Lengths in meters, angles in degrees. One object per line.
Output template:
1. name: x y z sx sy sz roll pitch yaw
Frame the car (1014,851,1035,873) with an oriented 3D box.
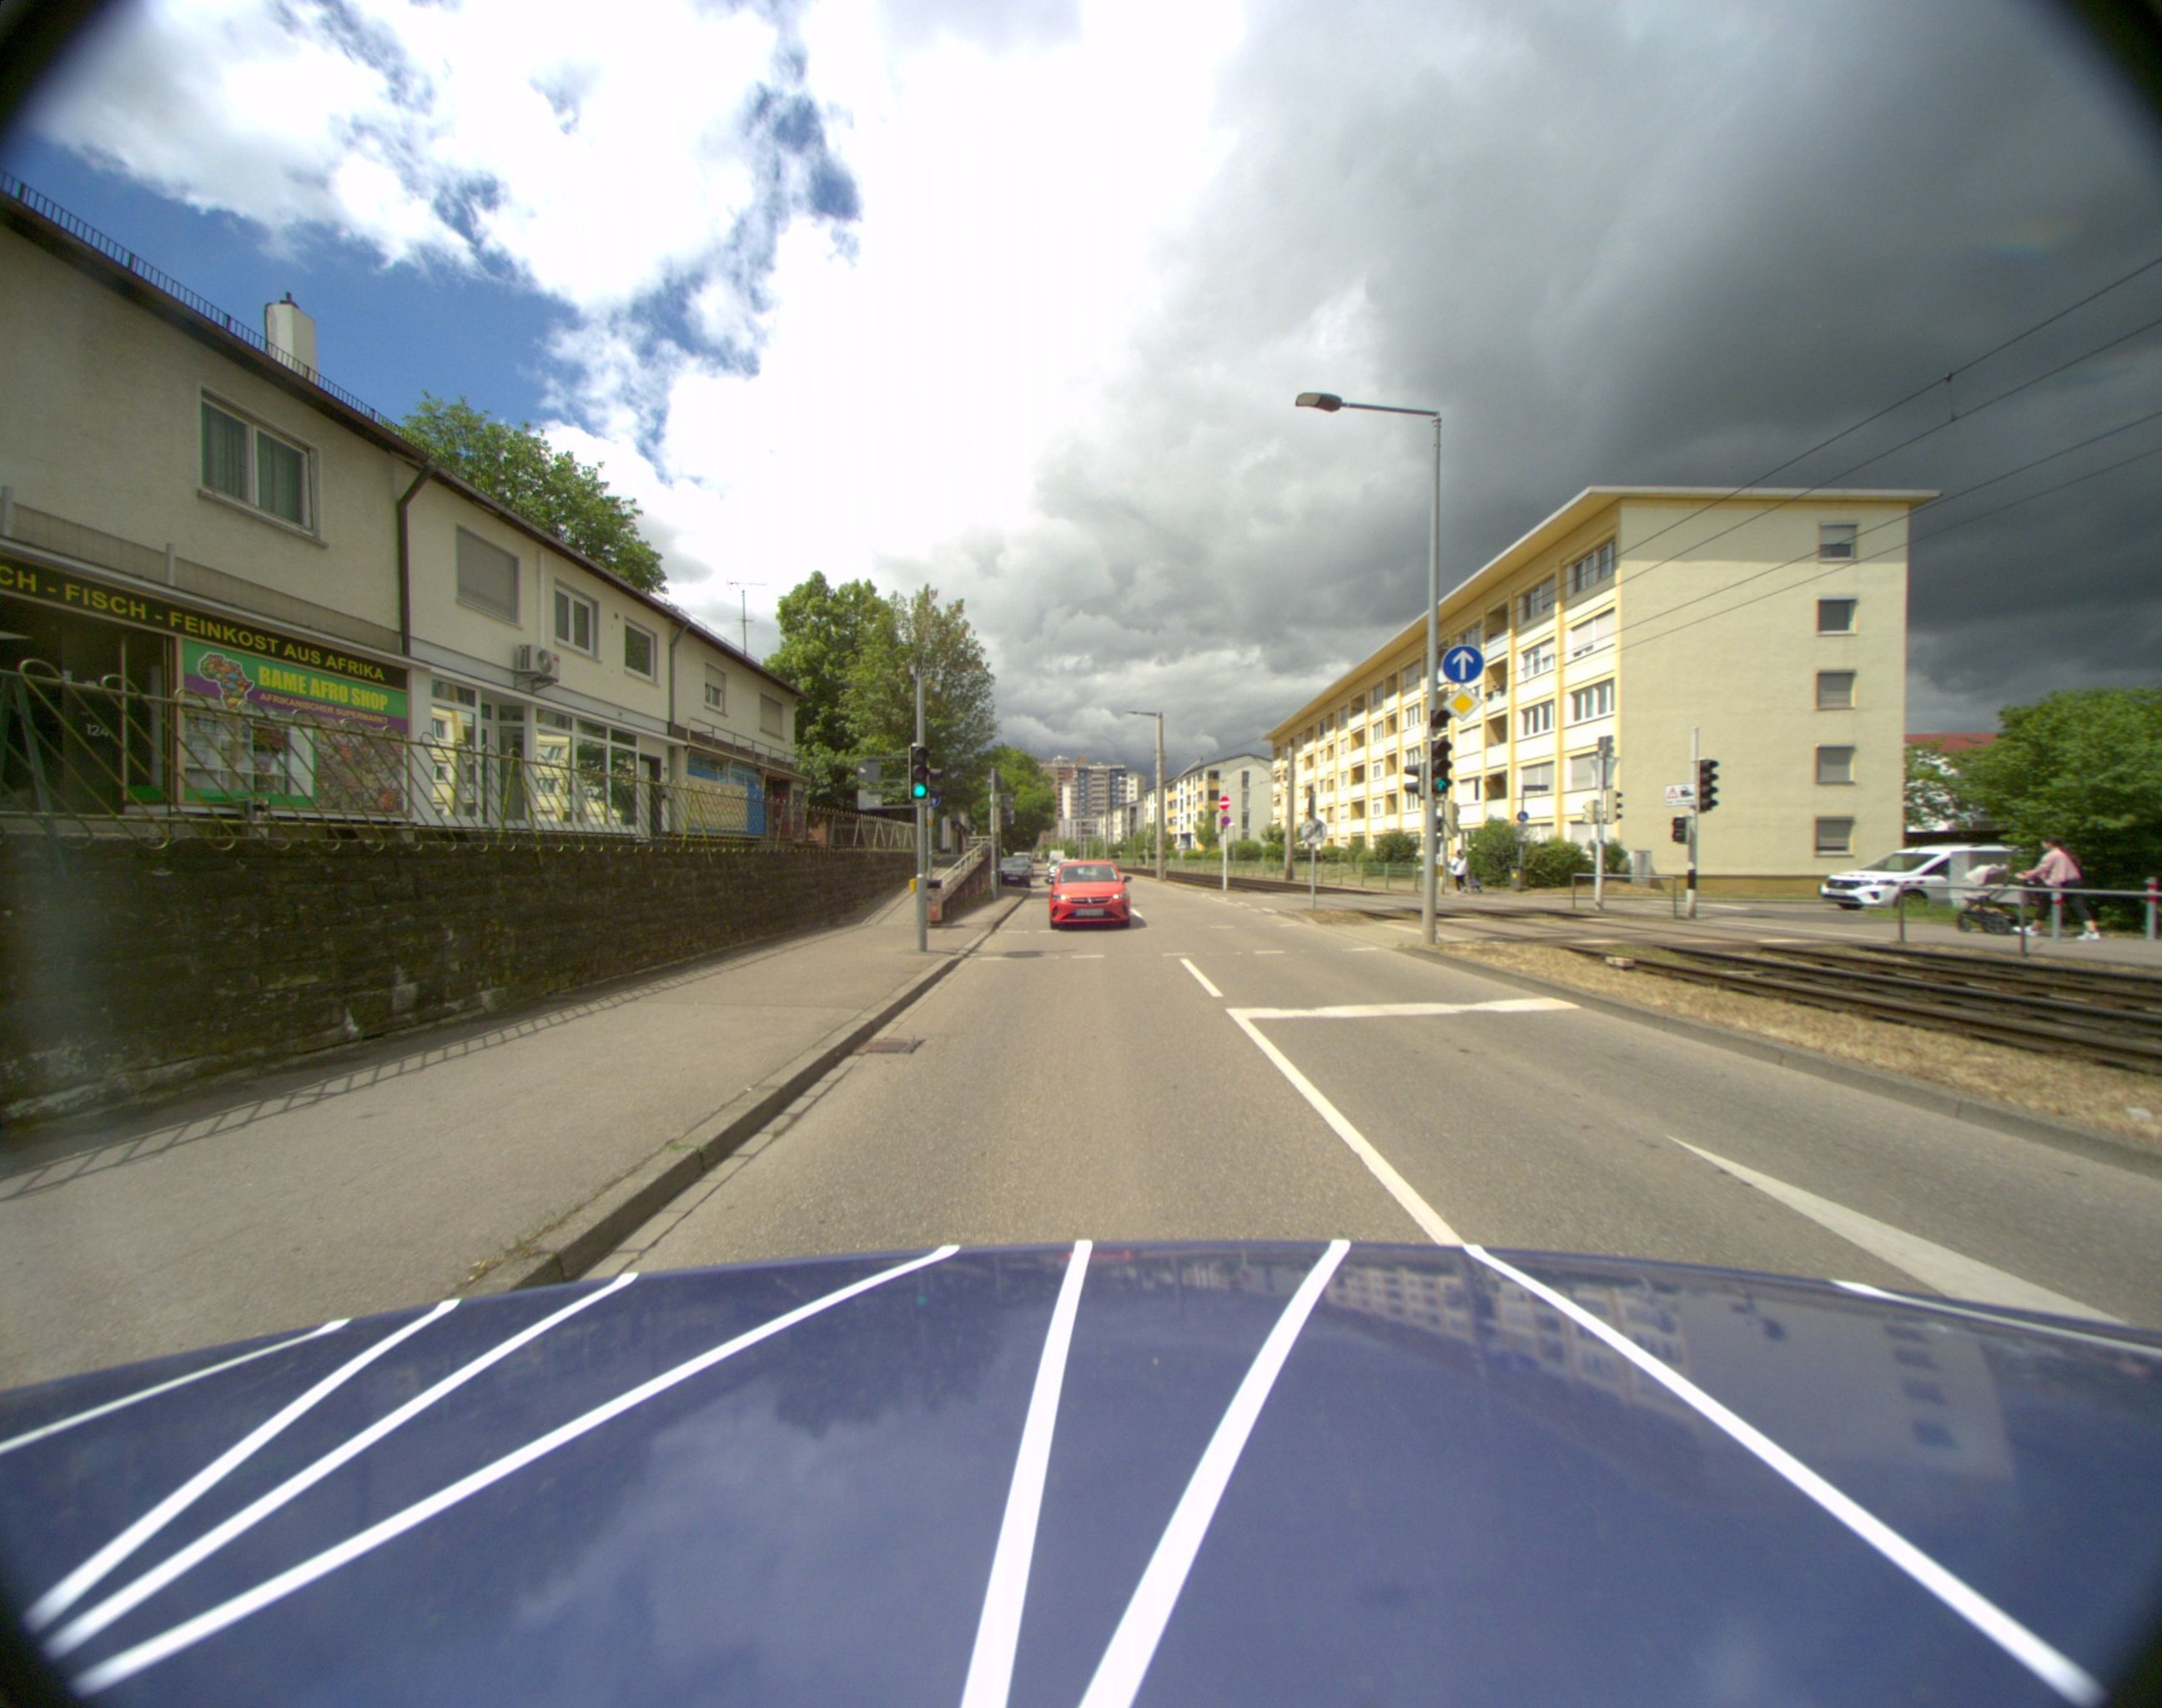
1. car: -5.137 0.697 69.656 1.854 1.997 4.968 0 0 -4

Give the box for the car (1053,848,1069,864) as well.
1. car: -3.116 0.289 117.396 2.237 2.460 5.085 0 0 -4

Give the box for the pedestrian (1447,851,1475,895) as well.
1. pedestrian: 14.002 0.701 28.004 0.605 1.598 0.773 1 1 -1

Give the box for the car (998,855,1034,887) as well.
1. car: -3.335 0.844 39.454 1.760 1.570 4.020 0 0 -4

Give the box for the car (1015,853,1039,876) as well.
1. car: -4.184 0.766 59.026 1.760 1.706 3.998 0 0 -4

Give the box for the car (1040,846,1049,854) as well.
1. car: -9.329 -1.062 196.022 2.237 2.050 4.360 0 0 -4

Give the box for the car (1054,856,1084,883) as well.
1. car: -0.711 0.838 43.153 1.499 1.477 3.519 0 0 -4

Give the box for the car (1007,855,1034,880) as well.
1. car: -4.056 0.889 51.635 1.760 1.558 4.173 1 0 -4

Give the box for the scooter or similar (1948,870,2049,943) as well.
1. scooter or similar: 15.267 0.855 12.662 0.609 1.156 0.892 -1 1 0

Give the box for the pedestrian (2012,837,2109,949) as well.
1. pedestrian: 15.261 0.589 11.856 0.647 1.683 0.679 -1 1 0

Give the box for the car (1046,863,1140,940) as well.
1. car: 0.157 0.981 17.417 1.784 1.433 4.129 -2 0 -4

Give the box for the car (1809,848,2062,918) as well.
1. car: 22.151 0.725 19.858 4.286 1.719 1.811 -1 1 6

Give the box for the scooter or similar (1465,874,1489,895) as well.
1. scooter or similar: 14.583 1.118 28.012 0.534 0.769 0.666 0 1 -1
